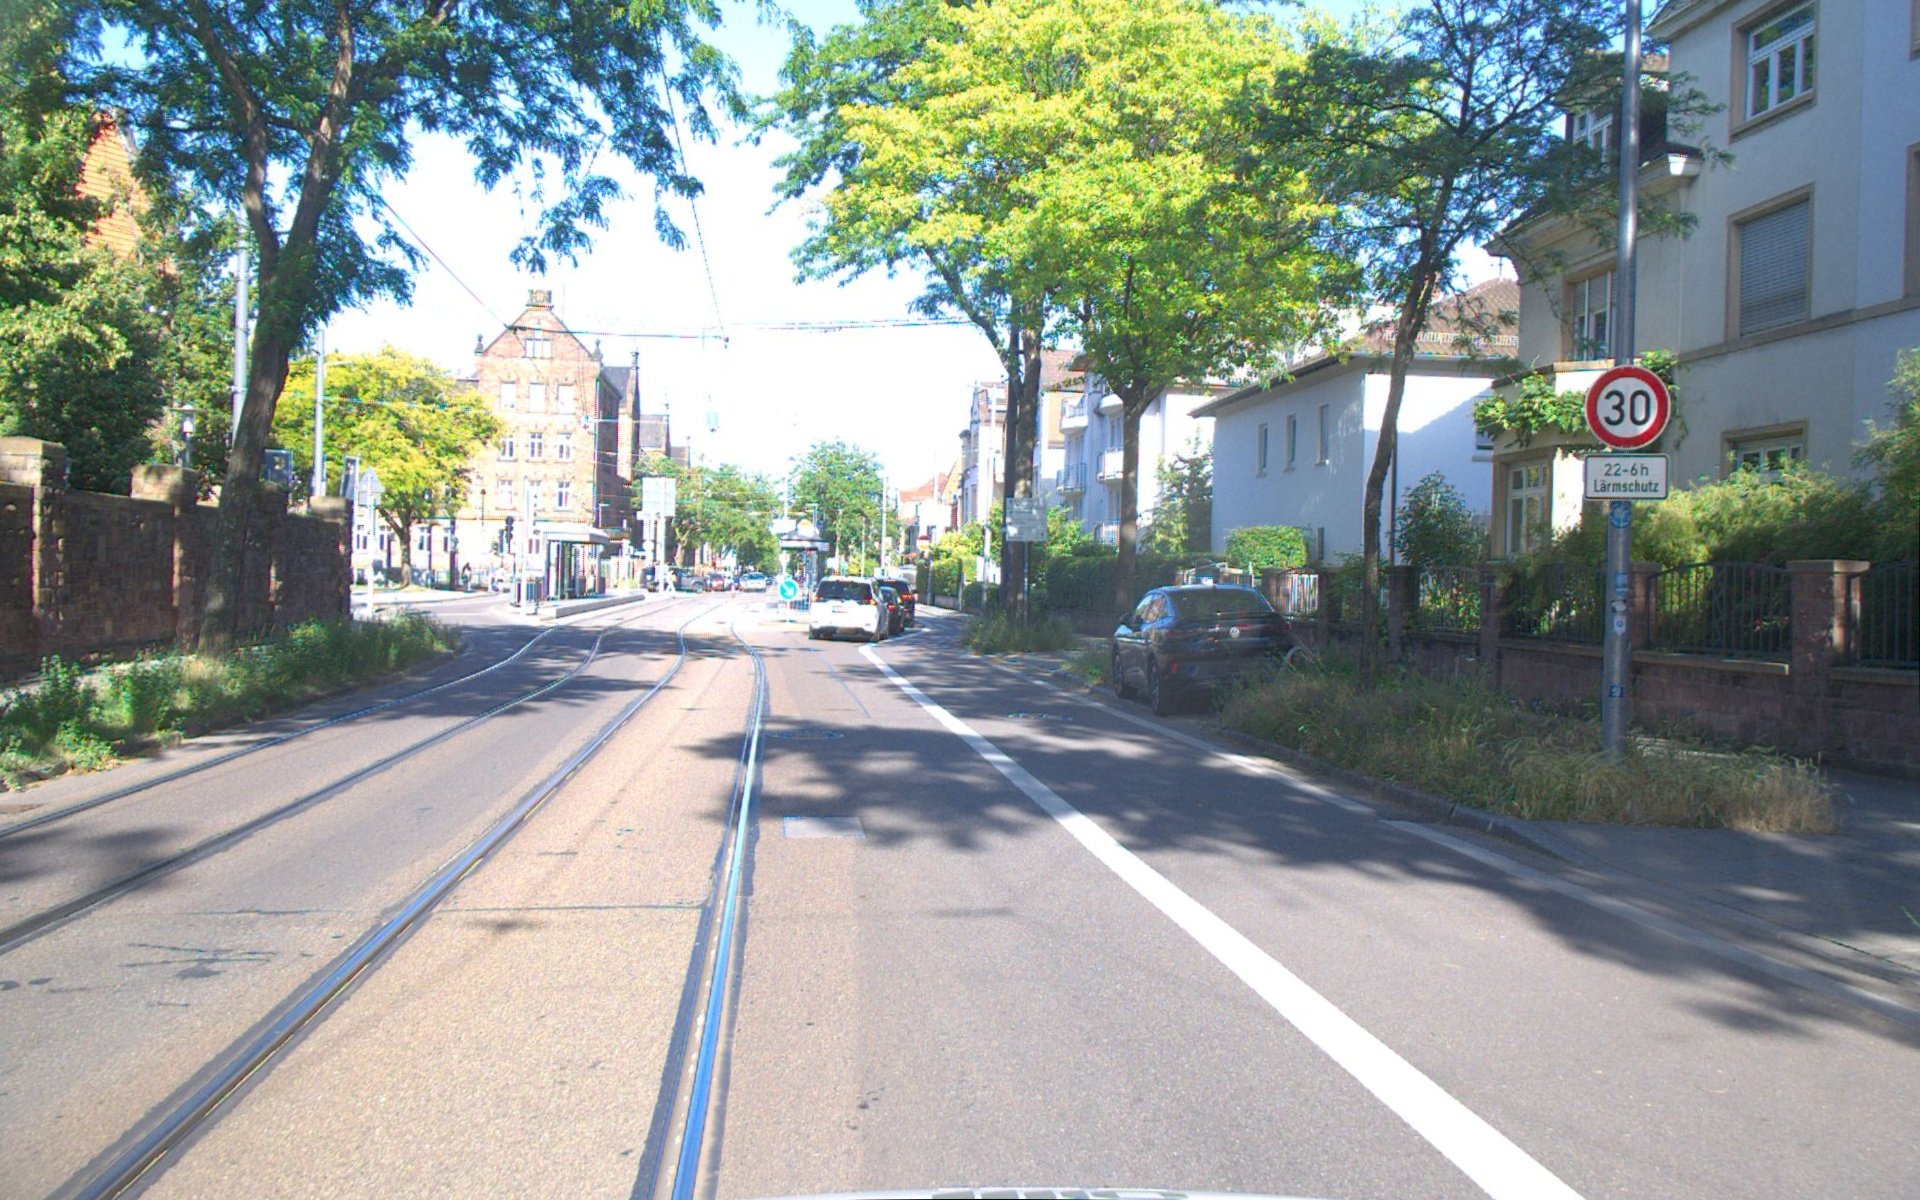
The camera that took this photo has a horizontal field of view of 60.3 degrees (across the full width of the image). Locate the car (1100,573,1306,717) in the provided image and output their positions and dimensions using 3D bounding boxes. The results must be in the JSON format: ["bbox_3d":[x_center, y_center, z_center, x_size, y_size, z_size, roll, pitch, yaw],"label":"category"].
[{"bbox_3d":[3.224,0.529,22.936,1.769,1.723,4.725,-2,1,-5],"label":"car"}]

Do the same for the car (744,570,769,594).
[{"bbox_3d":[-17.537,-1.521,142.572,1.955,1.947,3.996,1,0,-5],"label":"car"}]

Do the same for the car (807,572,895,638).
[{"bbox_3d":[-2.839,0.167,43.893,1.853,1.639,4.229,1,-1,2],"label":"car"}]

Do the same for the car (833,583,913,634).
[{"bbox_3d":[-2.611,0.240,50.533,1.952,1.467,4.002,1,1,4],"label":"car"}]

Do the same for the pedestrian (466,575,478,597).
[{"bbox_3d":[-28.057,-0.811,95.025,0.547,1.281,0.529,1,0,-7],"label":"pedestrian"}]

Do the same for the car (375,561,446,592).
[{"bbox_3d":[-34.630,-1.457,104.297,3.914,1.821,1.995,1,0,-10],"label":"car"}]

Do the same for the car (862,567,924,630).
[{"bbox_3d":[-2.255,-0.083,56.705,1.673,2.049,3.908,1,1,4],"label":"car"}]

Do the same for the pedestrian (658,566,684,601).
[{"bbox_3d":[-16.813,-0.955,96.196,1.131,2.049,1.120,1,0,15],"label":"pedestrian"}]
